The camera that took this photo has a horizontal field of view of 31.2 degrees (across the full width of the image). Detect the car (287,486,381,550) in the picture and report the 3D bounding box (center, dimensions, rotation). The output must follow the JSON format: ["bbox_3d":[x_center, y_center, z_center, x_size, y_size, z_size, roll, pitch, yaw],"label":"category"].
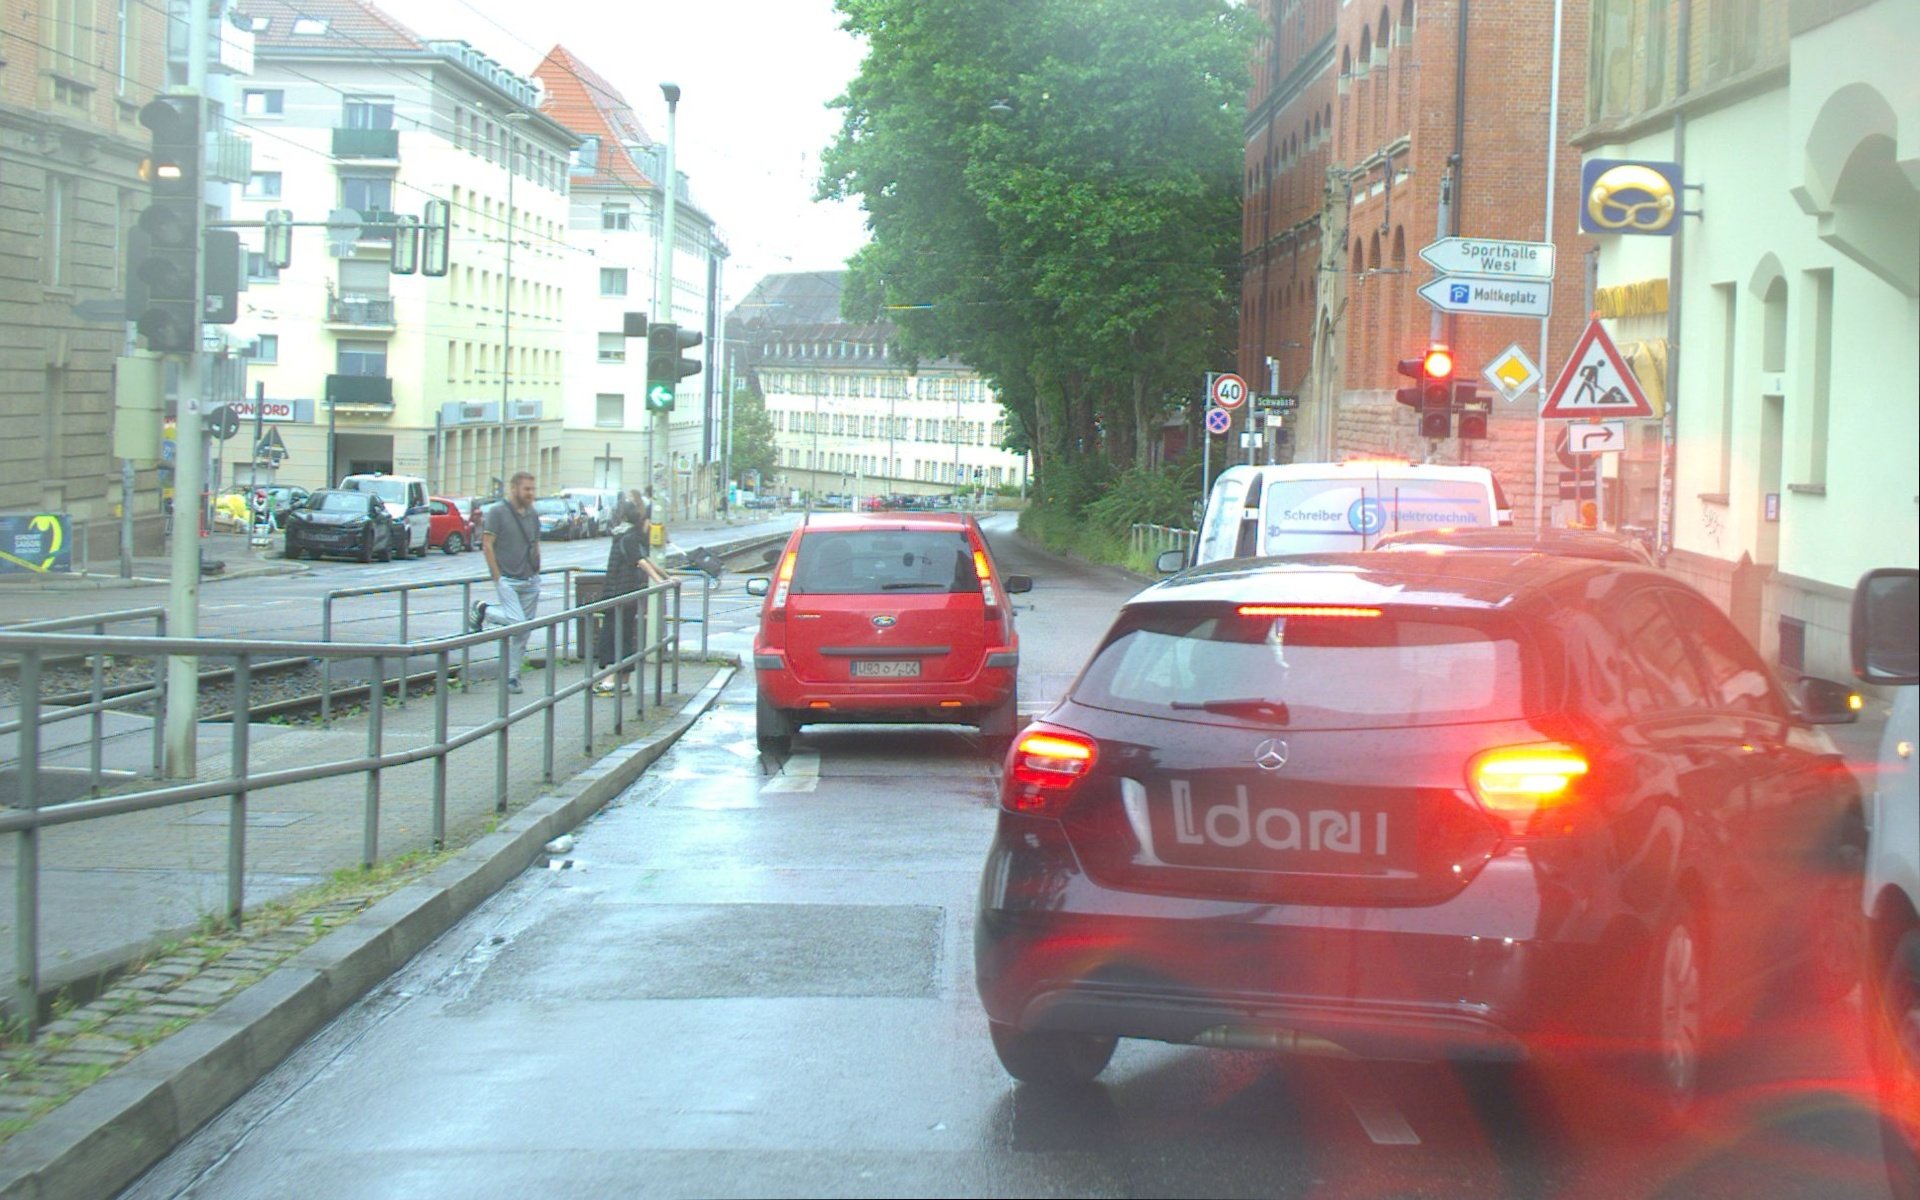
[{"bbox_3d":[-13.852,-1.824,76.170,1.452,1.314,3.295,3,2,-1],"label":"car"}]

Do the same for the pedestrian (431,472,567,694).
[{"bbox_3d":[-3.659,-0.138,27.277,0.739,1.718,0.741,1,2,-43],"label":"pedestrian"}]

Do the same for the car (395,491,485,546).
[{"bbox_3d":[-13.492,-2.114,89.309,1.680,1.351,3.703,2,1,1],"label":"car"}]

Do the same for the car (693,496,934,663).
[{"bbox_3d":[-1.487,-0.231,33.837,1.419,1.484,3.163,1,2,-20],"label":"car"}]

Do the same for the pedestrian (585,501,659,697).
[{"bbox_3d":[-2.677,-0.013,27.185,0.531,1.525,0.437,2,1,-7],"label":"pedestrian"}]

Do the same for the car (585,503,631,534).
[{"bbox_3d":[-13.576,-3.152,132.759,1.395,1.167,3.162,2,1,1],"label":"car"}]

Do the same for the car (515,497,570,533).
[{"bbox_3d":[-13.949,-2.839,114.972,1.395,1.167,3.162,2,1,1],"label":"car"}]

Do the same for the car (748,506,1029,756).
[{"bbox_3d":[-0.478,0.141,22.692,1.680,1.484,3.613,1,2,-1],"label":"car"}]

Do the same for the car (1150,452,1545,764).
[{"bbox_3d":[2.456,-0.014,22.851,1.933,1.825,4.282,2,2,-2],"label":"car"}]

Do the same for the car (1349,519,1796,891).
[{"bbox_3d":[2.749,0.382,16.241,1.713,1.464,4.280,2,1,6],"label":"car"}]

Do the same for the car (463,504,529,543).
[{"bbox_3d":[-13.719,-2.271,101.742,1.437,1.103,3.162,2,1,1],"label":"car"}]

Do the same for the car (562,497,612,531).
[{"bbox_3d":[-13.706,-3.164,126.385,1.395,1.167,3.162,2,1,1],"label":"car"}]

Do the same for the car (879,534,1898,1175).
[{"bbox_3d":[1.452,0.536,9.890,1.897,1.385,3.995,2,2,22],"label":"car"}]

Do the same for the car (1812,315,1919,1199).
[{"bbox_3d":[2.876,0.438,5.490,1.921,1.929,4.685,2,1,2],"label":"car"}]

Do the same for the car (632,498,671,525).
[{"bbox_3d":[-13.879,-3.969,154.638,1.395,1.167,3.162,2,1,1],"label":"car"}]

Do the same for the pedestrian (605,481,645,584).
[{"bbox_3d":[-5.505,-1.112,56.541,0.518,1.660,0.477,3,2,4],"label":"pedestrian"}]

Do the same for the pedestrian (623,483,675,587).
[{"bbox_3d":[-5.011,-1.054,55.392,0.679,1.655,0.676,1,1,7],"label":"pedestrian"}]

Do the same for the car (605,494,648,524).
[{"bbox_3d":[-13.789,-3.753,142.072,1.395,1.167,3.162,2,1,1],"label":"car"}]

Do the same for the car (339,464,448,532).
[{"bbox_3d":[-13.585,-2.444,82.684,1.786,1.525,4.462,2,1,1],"label":"car"}]
